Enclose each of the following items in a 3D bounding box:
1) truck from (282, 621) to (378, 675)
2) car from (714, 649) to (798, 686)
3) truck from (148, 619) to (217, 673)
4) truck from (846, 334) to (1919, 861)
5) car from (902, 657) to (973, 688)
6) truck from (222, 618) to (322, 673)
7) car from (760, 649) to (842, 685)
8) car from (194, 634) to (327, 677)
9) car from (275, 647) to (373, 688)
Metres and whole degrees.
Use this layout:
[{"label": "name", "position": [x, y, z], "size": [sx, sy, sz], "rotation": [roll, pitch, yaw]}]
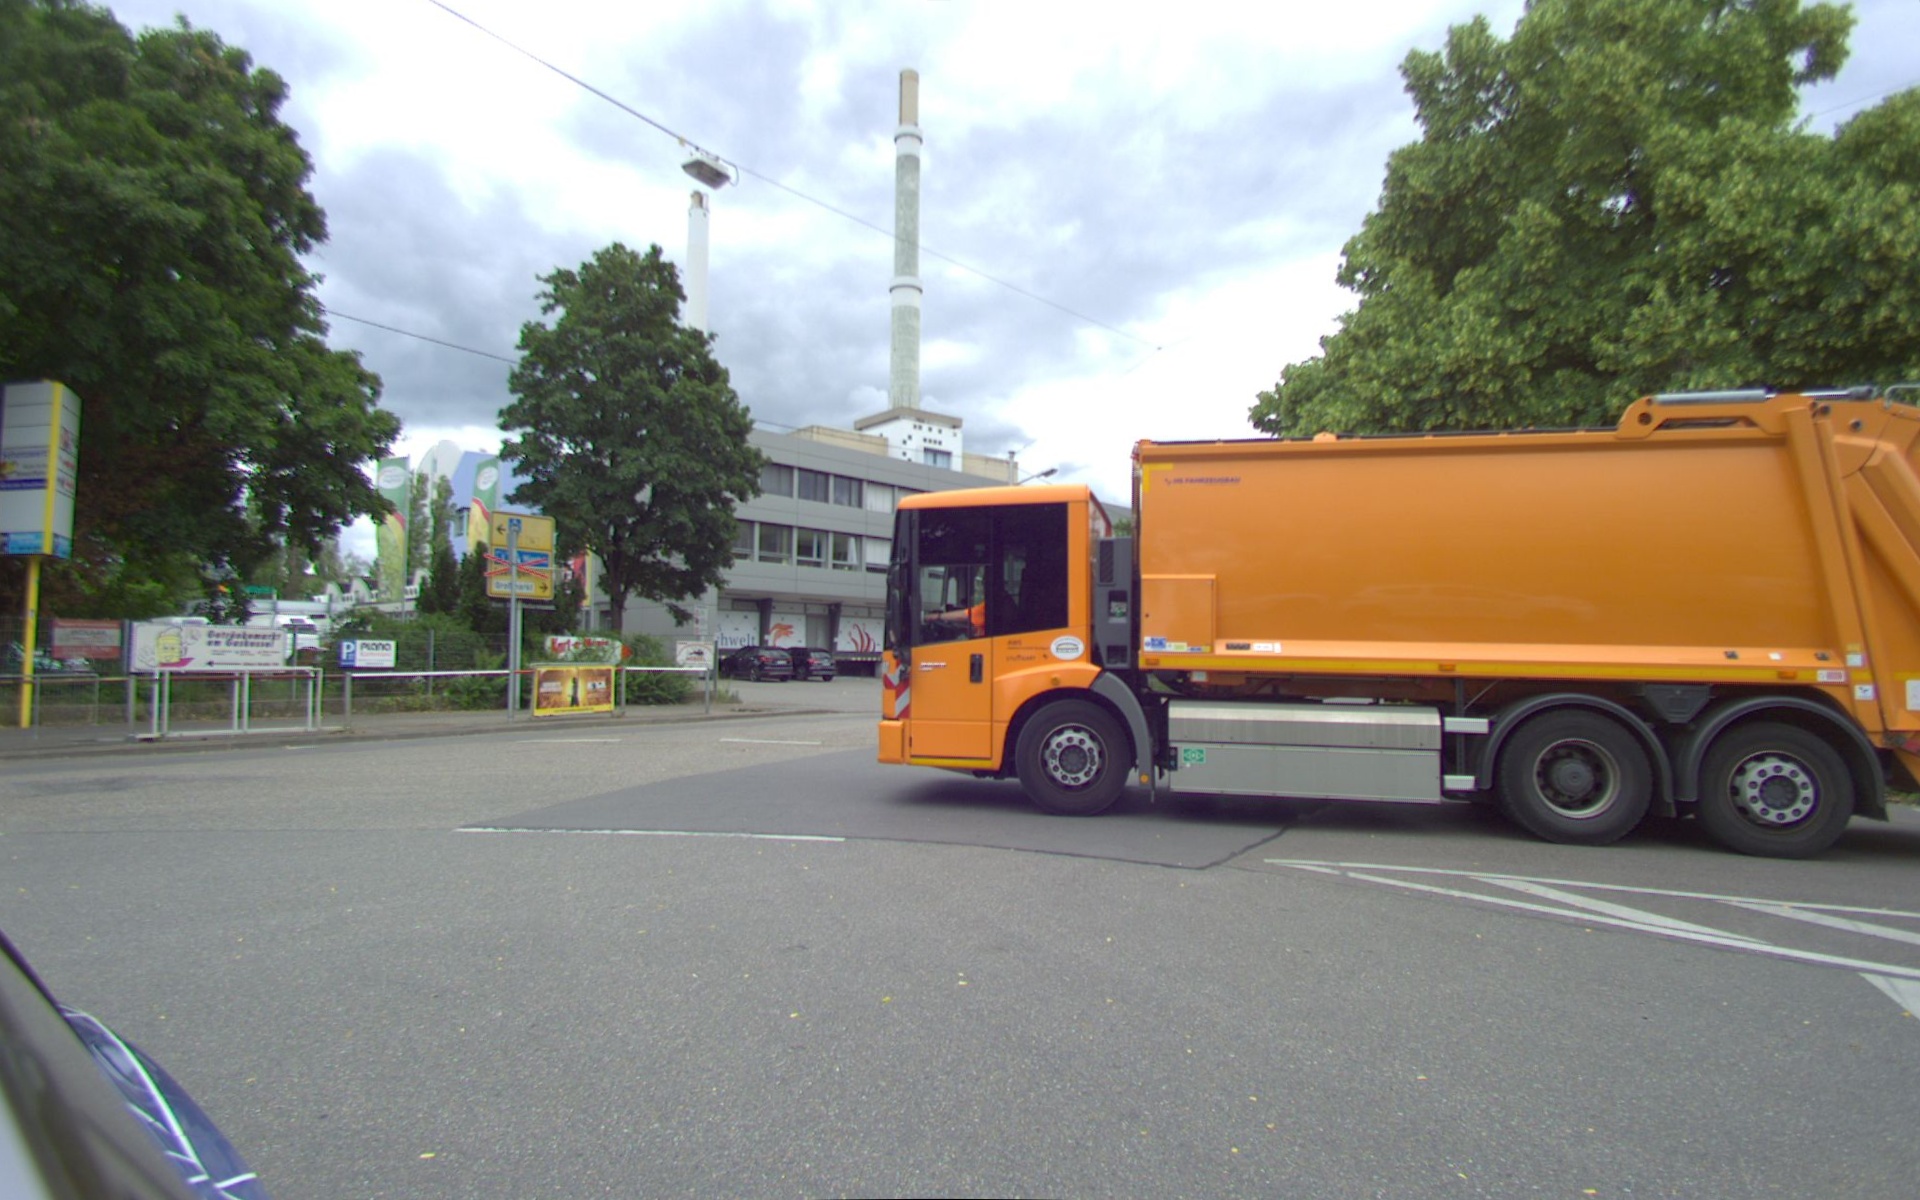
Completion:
[{"label": "truck", "position": [-51.483, 4.017, 82.392], "size": [15.856, 4.056, 2.831], "rotation": [-3, -6, 45]}, {"label": "car", "position": [-9.895, 3.236, 48.877], "size": [1.811, 1.630, 4.469], "rotation": [4, -4, -44]}, {"label": "truck", "position": [-63.312, 3.783, 82.275], "size": [9.191, 4.198, 2.956], "rotation": [-3, -5, 44]}, {"label": "truck", "position": [4.327, 0.096, 8.888], "size": [10.327, 3.554, 2.783], "rotation": [-2, -3, 16]}, {"label": "car", "position": [-1.294, 3.958, 55.469], "size": [2.015, 1.456, 4.844], "rotation": [2, -2, -27]}, {"label": "truck", "position": [-54.080, 3.657, 79.257], "size": [15.727, 3.964, 2.812], "rotation": [-3, -5, 43]}, {"label": "car", "position": [-8.047, 3.359, 50.979], "size": [1.812, 1.630, 4.426], "rotation": [4, -4, -45]}, {"label": "car", "position": [-47.677, 3.843, 69.154], "size": [2.244, 2.754, 7.050], "rotation": [-3, -6, 44]}, {"label": "car", "position": [-20.708, 2.196, 32.918], "size": [3.700, 1.258, 1.686], "rotation": [-3, -5, 41]}]
